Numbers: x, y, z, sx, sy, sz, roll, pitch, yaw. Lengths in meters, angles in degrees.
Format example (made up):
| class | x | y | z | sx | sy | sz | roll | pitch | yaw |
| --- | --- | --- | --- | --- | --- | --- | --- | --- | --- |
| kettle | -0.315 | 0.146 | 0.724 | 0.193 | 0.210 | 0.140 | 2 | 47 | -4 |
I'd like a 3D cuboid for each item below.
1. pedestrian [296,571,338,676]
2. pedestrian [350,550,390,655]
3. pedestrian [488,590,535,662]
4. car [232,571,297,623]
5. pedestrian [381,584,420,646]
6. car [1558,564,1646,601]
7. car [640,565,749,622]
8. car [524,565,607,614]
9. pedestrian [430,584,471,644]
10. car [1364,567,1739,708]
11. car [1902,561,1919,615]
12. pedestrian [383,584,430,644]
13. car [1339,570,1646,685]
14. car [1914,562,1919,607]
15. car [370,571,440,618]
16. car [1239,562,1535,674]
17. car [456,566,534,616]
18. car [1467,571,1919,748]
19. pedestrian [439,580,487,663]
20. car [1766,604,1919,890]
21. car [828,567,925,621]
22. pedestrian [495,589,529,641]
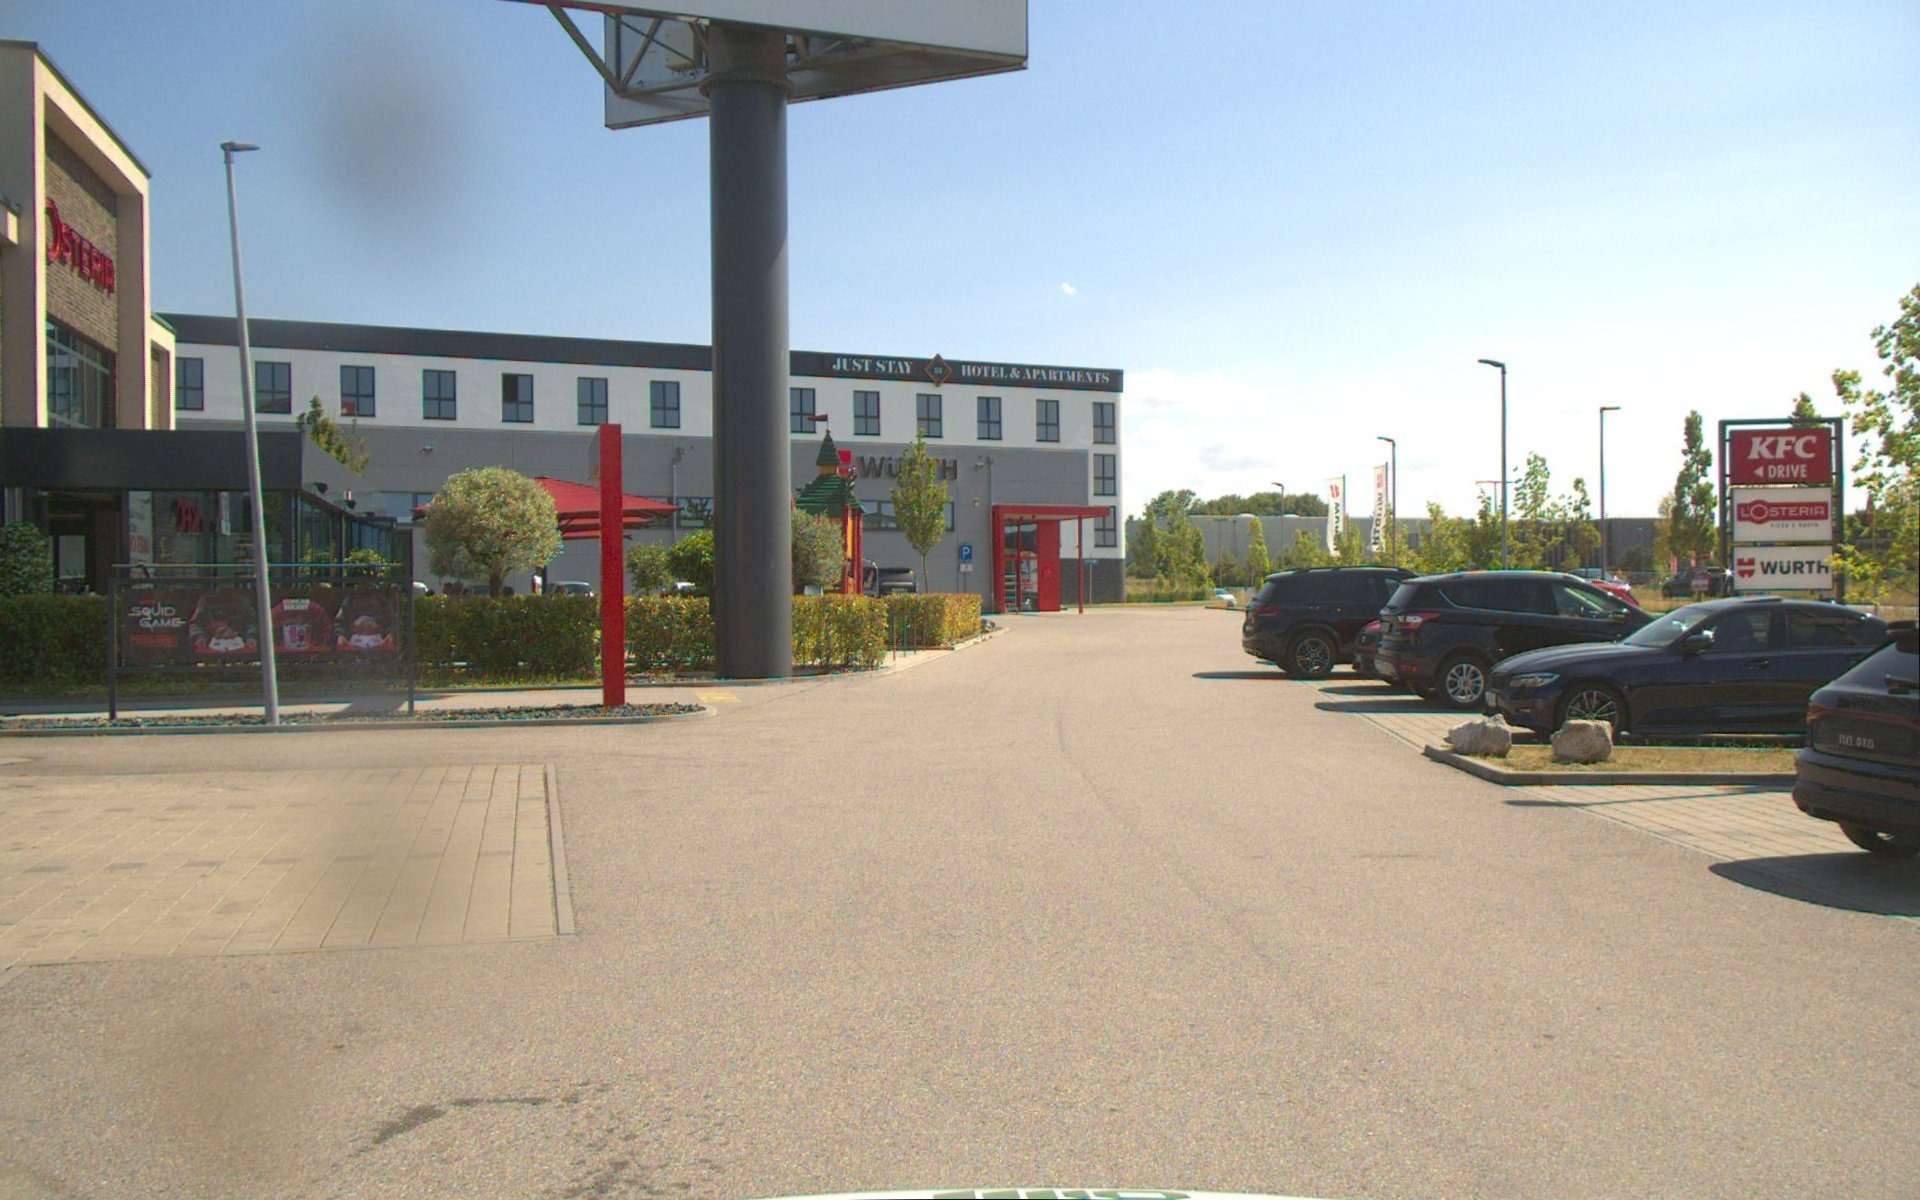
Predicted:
| class | x | y | z | sx | sy | sz | roll | pitch | yaw |
| --- | --- | --- | --- | --- | --- | --- | --- | --- | --- |
| pedestrian | -9.543 | 0.333 | 24.560 | 0.516 | 1.531 | 0.566 | -1 | 1 | -18 |
| pedestrian | -8.789 | 0.030 | 24.650 | 0.516 | 1.531 | 0.566 | -1 | 1 | -18 |
| pedestrian | -7.671 | 0.434 | 28.295 | 0.644 | 1.205 | 0.475 | -1 | 1 | -40 |
| car | -22.434 | -0.124 | 53.277 | 1.710 | 1.594 | 3.918 | -1 | 1 | -26 |
| pedestrian | -11.242 | 0.289 | 33.227 | 0.698 | 1.219 | 0.663 | -1 | 1 | -23 |
| car | 31.780 | -0.902 | 82.016 | 1.957 | 1.763 | 4.749 | -1 | 1 | -9 |
| car | -7.738 | -0.216 | 47.878 | 1.924 | 1.557 | 4.340 | -1 | 1 | -26 |
| car | -13.837 | -0.393 | 57.872 | 1.924 | 1.613 | 4.340 | -1 | 1 | -26 |
| pedestrian | -10.601 | 0.289 | 34.415 | 0.694 | 1.219 | 0.616 | -1 | 1 | -7 |
| car | 7.545 | 0.450 | 21.450 | 4.227 | 1.732 | 1.897 | 0 | 0 | 4 |
| car | 28.560 | -0.334 | 46.013 | 1.953 | 1.553 | 4.656 | -1 | 1 | -2 |
| pedestrian | -11.458 | 0.293 | 34.234 | 0.693 | 1.219 | 0.617 | 0 | 1 | 15 |
| car | 7.866 | 0.376 | 24.729 | 3.984 | 1.637 | 1.896 | 0 | 1 | 0 |
| car | 33.911 | -0.504 | 54.973 | 1.952 | 1.530 | 4.660 | -1 | 1 | 4 |
| car | -18.638 | -0.210 | 55.475 | 1.710 | 1.513 | 3.918 | -1 | 1 | -26 |
| car | 7.037 | 0.278 | 27.605 | 4.480 | 1.791 | 1.896 | 0 | 0 | 2 |
| car | -15.936 | -0.331 | 56.563 | 1.856 | 1.613 | 4.074 | -1 | 1 | -26 |
| car | 7.588 | 0.558 | 16.807 | 4.343 | 1.666 | 1.897 | 0 | 0 | 4 |
| pedestrian | -8.430 | 0.354 | 28.048 | 0.644 | 1.390 | 0.475 | -1 | 1 | -40 |
| car | 6.875 | 0.753 | 9.061 | 4.111 | 1.435 | 1.772 | 0 | 0 | -5 |
| car | -3.147 | -0.262 | 61.517 | 2.044 | 1.913 | 4.843 | -1 | 1 | -24 |
| pedestrian | -9.746 | 0.318 | 36.011 | 0.564 | 1.108 | 0.545 | -1 | 1 | 1 |
